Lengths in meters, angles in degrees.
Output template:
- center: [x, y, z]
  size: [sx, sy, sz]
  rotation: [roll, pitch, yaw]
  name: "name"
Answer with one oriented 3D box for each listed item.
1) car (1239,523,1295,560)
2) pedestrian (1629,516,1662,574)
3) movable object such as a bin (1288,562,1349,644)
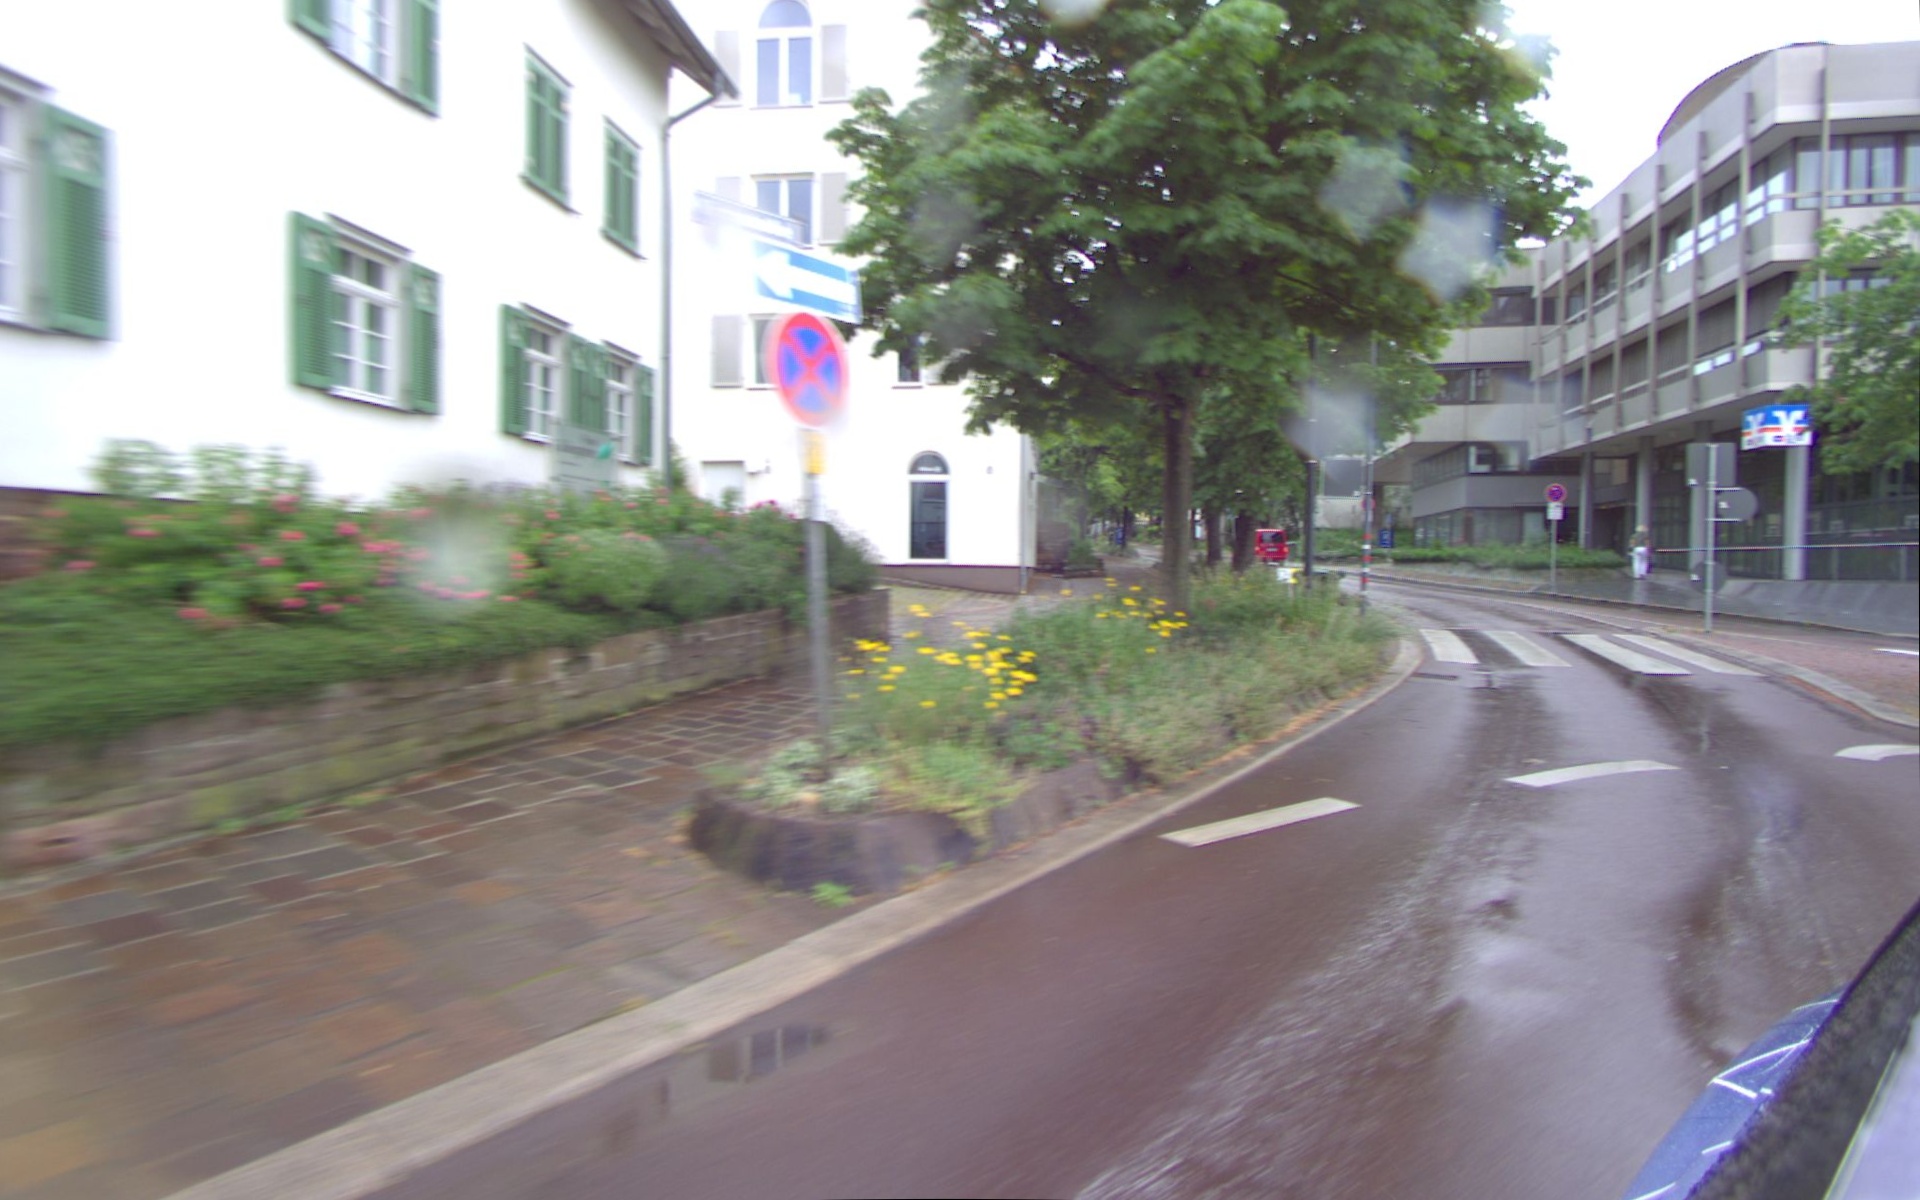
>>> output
- center: [15.802, -2.999, 52.336]
  size: [1.835, 1.853, 4.183]
  rotation: [0, 3, 4]
  name: "car"
- center: [22.188, -1.773, 32.748]
  size: [0.833, 1.852, 0.805]
  rotation: [1, 4, 38]
  name: "pedestrian"
- center: [5.145, 0.030, 14.558]
  size: [0.728, 1.138, 0.648]
  rotation: [0, 2, 11]
  name: "movable object such as a bin"
